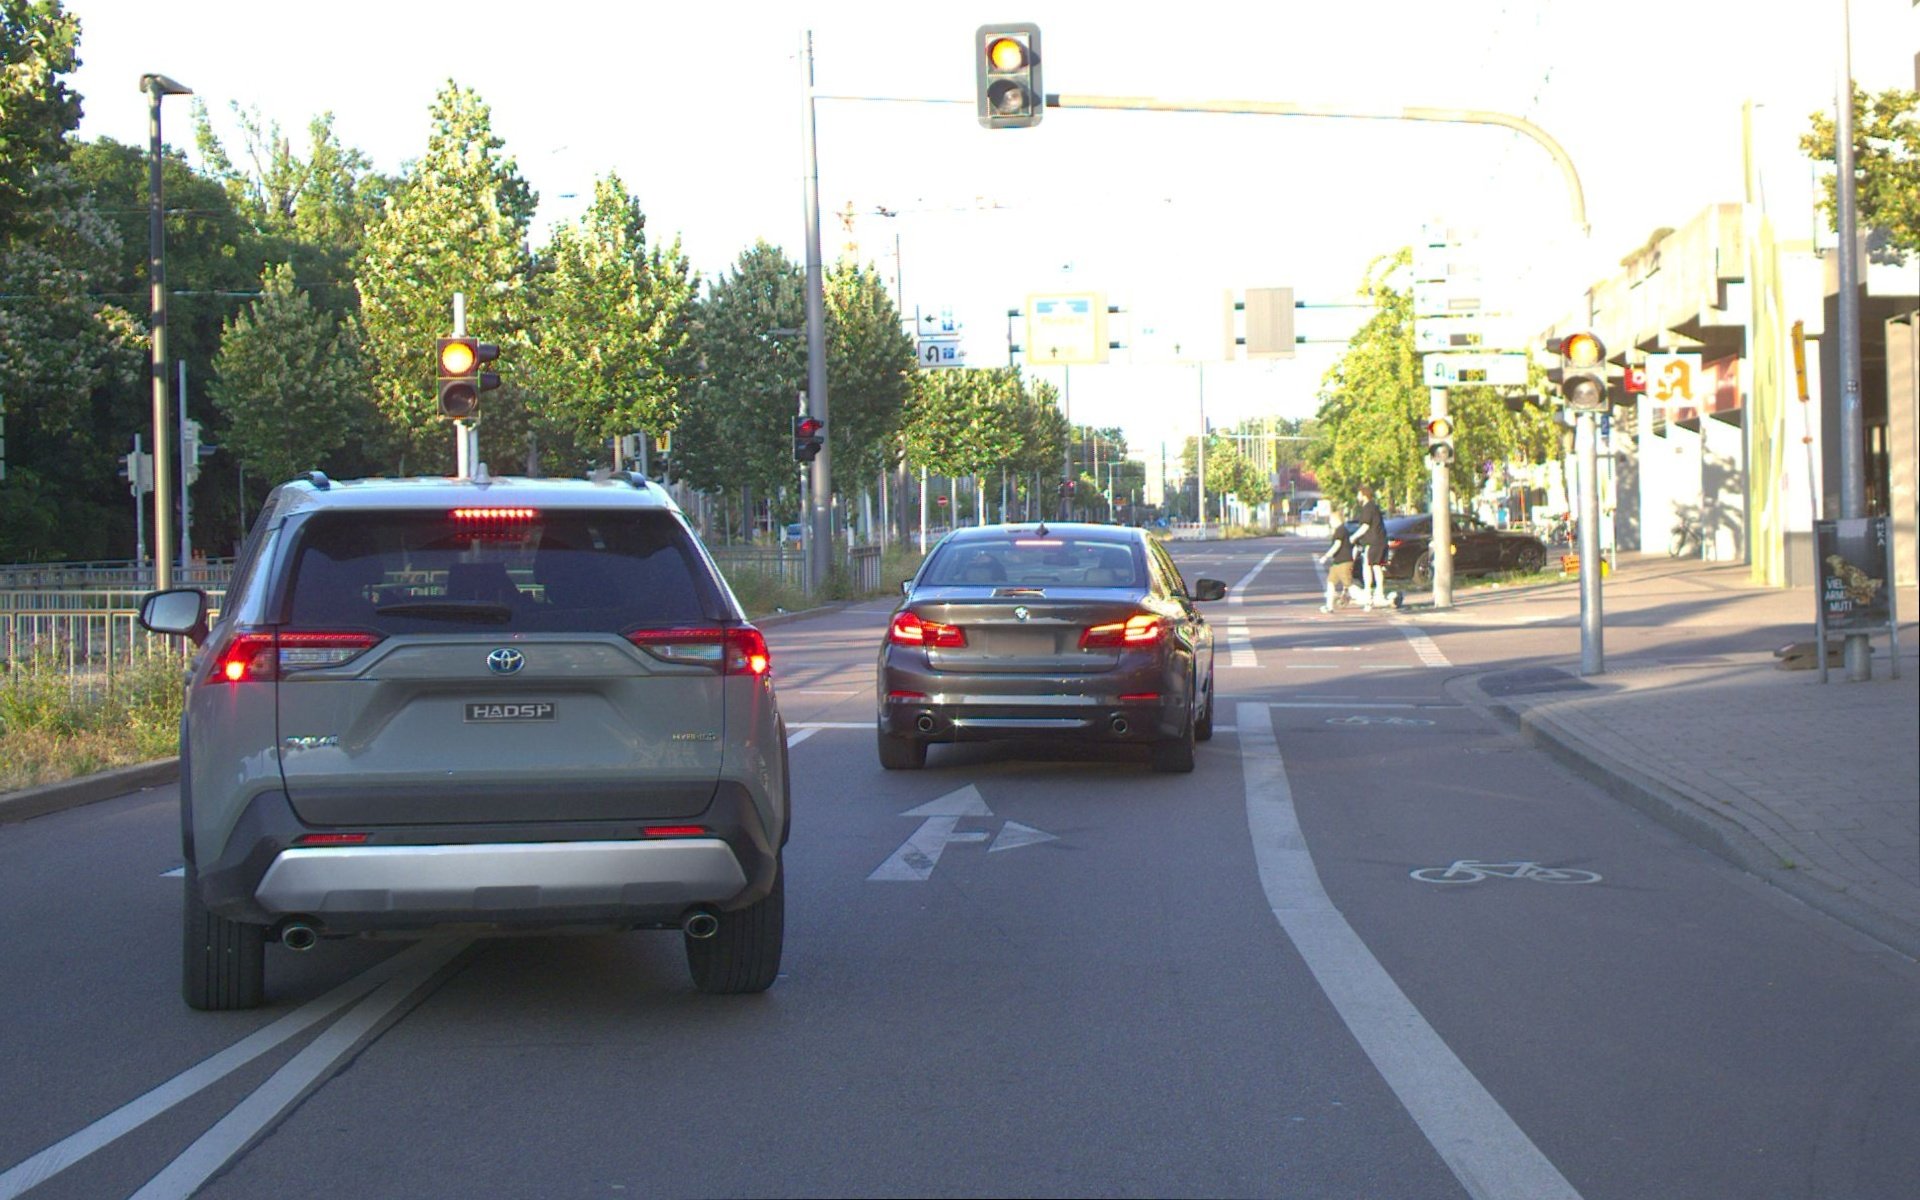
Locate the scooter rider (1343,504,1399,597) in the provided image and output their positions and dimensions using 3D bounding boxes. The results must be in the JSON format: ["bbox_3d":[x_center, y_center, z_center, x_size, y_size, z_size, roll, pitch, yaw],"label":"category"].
[{"bbox_3d":[6.801,-0.820,56.854,0.821,1.509,0.652,-1,1,14],"label":"scooter rider"}]

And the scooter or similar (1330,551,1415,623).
[{"bbox_3d":[6.818,-0.216,56.835,1.330,1.149,0.513,-1,1,14],"label":"scooter or similar"}]

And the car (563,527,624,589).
[{"bbox_3d":[-13.565,-1.576,127.306,1.993,2.160,4.752,0,3,-3],"label":"car"}]

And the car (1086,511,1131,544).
[{"bbox_3d":[6.992,-3.436,161.703,1.979,1.428,4.843,0,3,4],"label":"car"}]

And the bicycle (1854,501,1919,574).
[{"bbox_3d":[15.239,-0.999,55.363,0.688,1.145,2.024,2,1,-15],"label":"bicycle"}]

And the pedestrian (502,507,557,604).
[{"bbox_3d":[-7.725,-0.800,61.693,0.835,1.706,0.647,-1,1,3],"label":"pedestrian"}]

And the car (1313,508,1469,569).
[{"bbox_3d":[12.473,-1.798,99.441,4.254,1.653,1.861,-1,3,-31],"label":"car"}]

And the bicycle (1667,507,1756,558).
[{"bbox_3d":[18.106,-1.630,82.852,2.017,1.145,0.690,2,1,10],"label":"bicycle"}]

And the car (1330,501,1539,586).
[{"bbox_3d":[9.847,-1.195,71.227,4.256,1.653,1.860,-2,3,-38],"label":"car"}]

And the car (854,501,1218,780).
[{"bbox_3d":[0.586,0.158,21.406,1.932,1.476,4.522,0,3,6],"label":"car"}]

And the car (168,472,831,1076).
[{"bbox_3d":[-1.768,0.402,11.875,1.854,1.653,4.270,-1,3,-13],"label":"car"}]

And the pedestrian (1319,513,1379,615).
[{"bbox_3d":[6.141,-0.569,54.279,0.835,1.581,0.811,-1,1,12],"label":"pedestrian"}]
